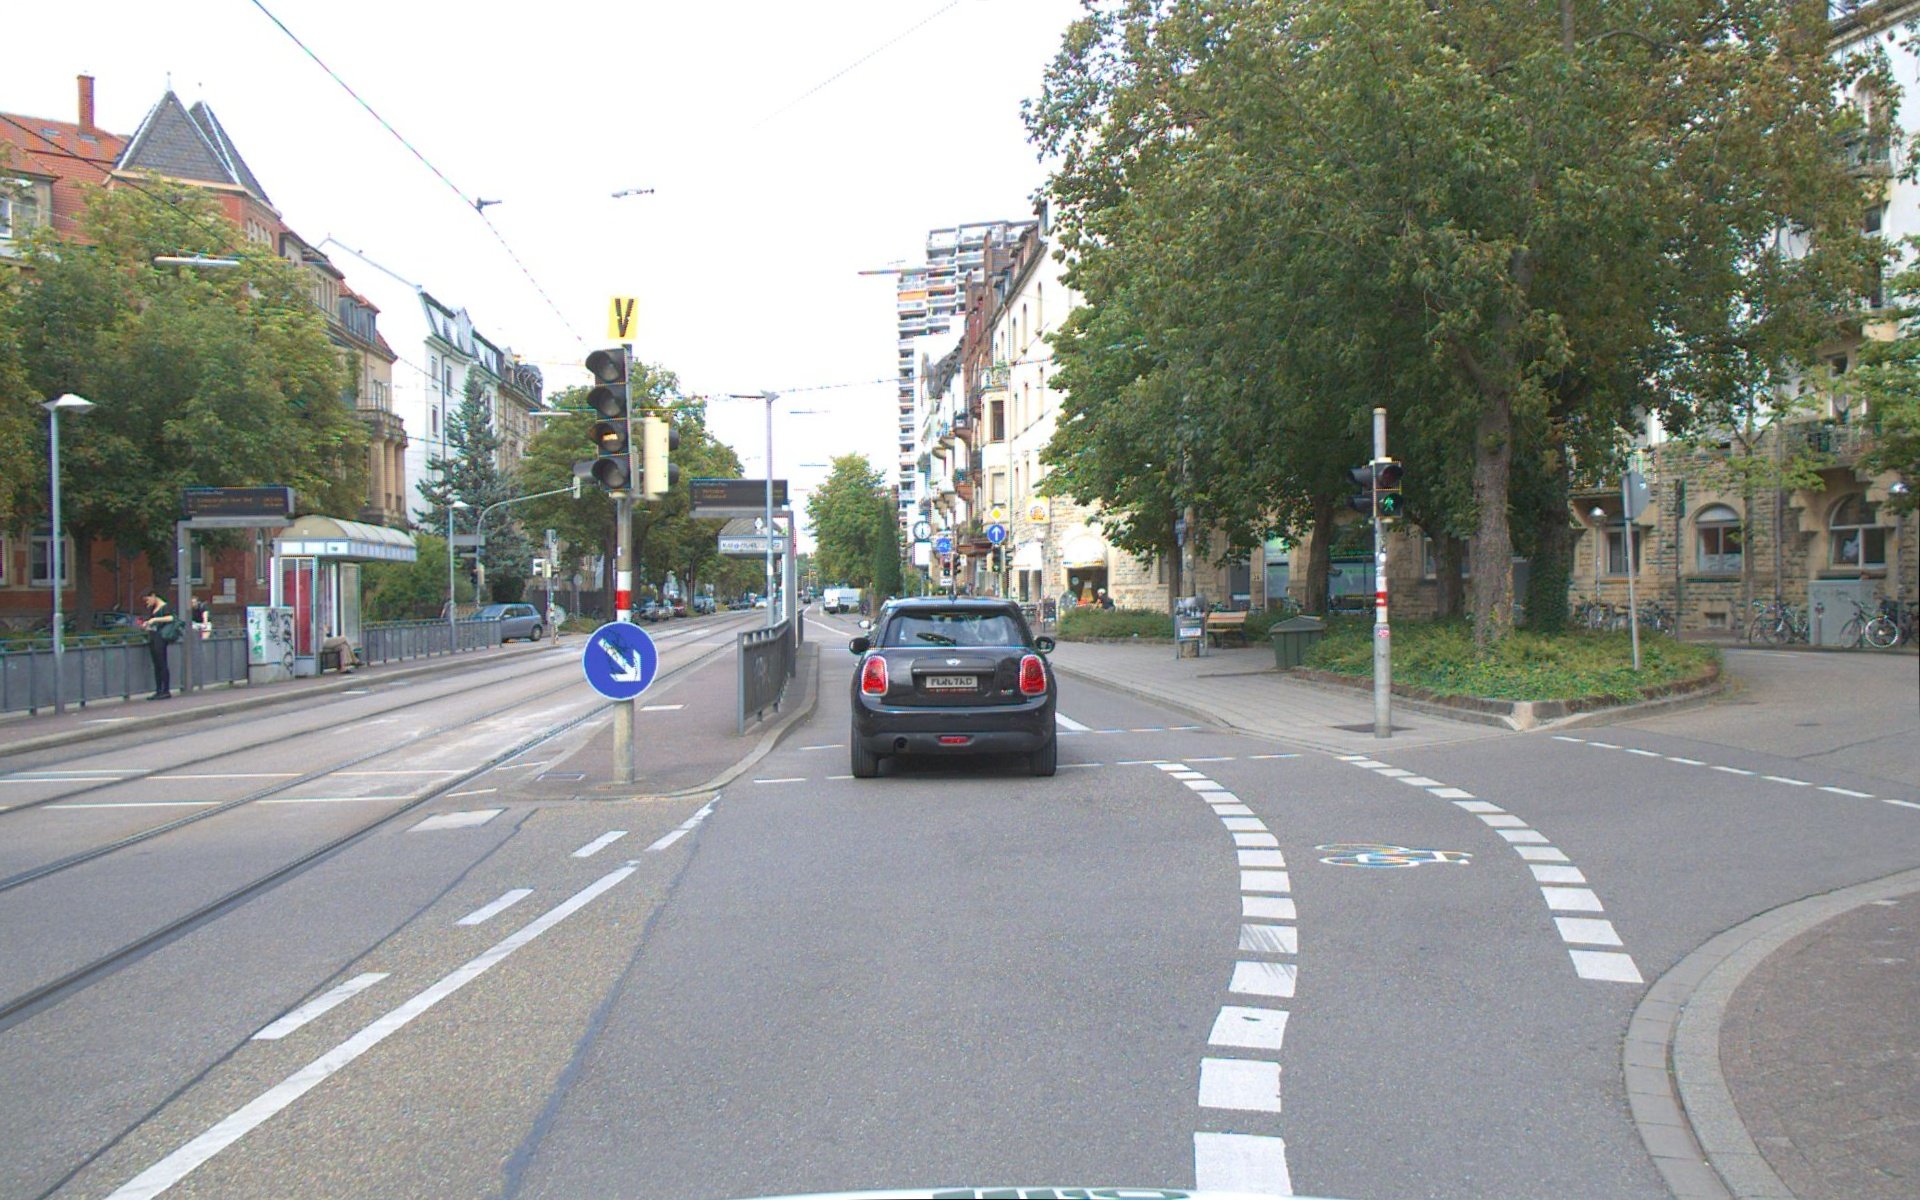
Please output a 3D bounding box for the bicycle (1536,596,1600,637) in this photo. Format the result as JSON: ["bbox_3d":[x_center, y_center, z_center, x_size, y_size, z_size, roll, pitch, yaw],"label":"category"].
[{"bbox_3d":[17.760,0.474,48.316,1.861,1.147,0.579,-1,0,-22],"label":"bicycle"}]

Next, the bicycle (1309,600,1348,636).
[{"bbox_3d":[12.283,0.588,55.147,0.522,1.147,1.886,-1,0,37],"label":"bicycle"}]

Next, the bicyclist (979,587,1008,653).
[{"bbox_3d":[0.812,0.476,40.510,0.583,1.577,1.013,-1,0,-5],"label":"bicyclist"}]

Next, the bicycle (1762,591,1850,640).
[{"bbox_3d":[20.528,0.367,40.152,1.848,1.147,0.533,-1,0,1],"label":"bicycle"}]

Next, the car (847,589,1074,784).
[{"bbox_3d":[-0.020,0.657,14.618,1.716,1.466,3.999,1,0,-1],"label":"car"}]

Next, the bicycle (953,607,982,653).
[{"bbox_3d":[0.195,0.803,44.904,0.670,1.190,1.696,-1,0,-3],"label":"bicycle"}]

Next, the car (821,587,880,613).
[{"bbox_3d":[-9.782,-0.009,148.013,2.357,2.312,5.004,-1,0,45],"label":"car"}]

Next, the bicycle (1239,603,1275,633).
[{"bbox_3d":[10.271,0.618,57.218,0.522,0.989,1.642,-1,0,37],"label":"bicycle"}]

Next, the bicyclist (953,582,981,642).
[{"bbox_3d":[0.190,0.314,44.847,0.670,1.591,0.997,-1,0,-3],"label":"bicyclist"}]

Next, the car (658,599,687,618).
[{"bbox_3d":[-24.531,0.715,141.221,1.954,1.579,3.996,-1,0,-4],"label":"car"}]

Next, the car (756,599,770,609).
[{"bbox_3d":[-27.169,0.561,227.923,1.732,1.420,3.995,-1,0,-5],"label":"car"}]

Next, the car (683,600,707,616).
[{"bbox_3d":[-26.256,0.788,164.106,1.954,1.579,3.996,-1,0,-4],"label":"car"}]

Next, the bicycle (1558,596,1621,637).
[{"bbox_3d":[18.115,0.472,47.585,1.866,1.147,0.589,-1,0,-28],"label":"bicycle"}]

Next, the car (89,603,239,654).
[{"bbox_3d":[-25.373,0.890,52.850,1.777,1.504,3.990,-1,0,32],"label":"car"}]

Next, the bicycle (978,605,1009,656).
[{"bbox_3d":[0.818,0.731,40.514,0.586,1.190,1.695,-1,0,-4],"label":"bicycle"}]

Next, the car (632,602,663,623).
[{"bbox_3d":[-21.646,0.866,114.623,1.732,1.420,3.995,-1,0,-5],"label":"car"}]

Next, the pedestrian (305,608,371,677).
[{"bbox_3d":[-12.316,0.829,32.792,1.039,1.316,0.983,-1,0,-10],"label":"pedestrian"}]

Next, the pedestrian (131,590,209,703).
[{"bbox_3d":[-11.851,0.678,24.835,0.836,1.649,0.841,-1,0,-10],"label":"pedestrian"}]

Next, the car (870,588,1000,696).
[{"bbox_3d":[-0.451,0.611,26.288,1.888,1.536,3.998,-1,0,-3],"label":"car"}]

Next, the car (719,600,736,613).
[{"bbox_3d":[-30.361,0.828,216.356,1.954,1.579,3.996,-1,0,-4],"label":"car"}]

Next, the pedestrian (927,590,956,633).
[{"bbox_3d":[-0.771,0.466,68.299,0.719,1.703,0.831,-4,1,42],"label":"pedestrian"}]

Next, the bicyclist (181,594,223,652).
[{"bbox_3d":[-18.248,0.551,39.843,0.648,1.363,0.835,-1,0,-5],"label":"bicyclist"}]

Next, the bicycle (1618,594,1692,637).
[{"bbox_3d":[19.019,0.425,45.272,1.852,1.147,0.532,-1,0,-9],"label":"bicycle"}]

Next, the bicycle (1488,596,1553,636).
[{"bbox_3d":[16.907,0.484,49.897,1.855,1.147,0.561,-1,0,-14],"label":"bicycle"}]

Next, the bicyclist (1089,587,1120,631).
[{"bbox_3d":[5.097,0.315,58.326,0.896,1.498,0.614,-1,0,35],"label":"bicyclist"}]

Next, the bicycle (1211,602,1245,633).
[{"bbox_3d":[9.406,0.610,57.988,0.441,1.073,1.642,-1,0,37],"label":"bicycle"}]

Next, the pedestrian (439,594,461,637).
[{"bbox_3d":[-21.557,0.652,69.914,0.716,1.815,0.834,-1,0,-5],"label":"pedestrian"}]

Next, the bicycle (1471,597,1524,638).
[{"bbox_3d":[16.450,0.528,50.571,1.873,1.147,0.526,-3,1,-36],"label":"bicycle"}]

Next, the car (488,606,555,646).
[{"bbox_3d":[-17.058,0.976,64.458,1.717,1.466,3.998,1,0,-3],"label":"car"}]

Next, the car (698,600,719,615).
[{"bbox_3d":[-27.377,0.836,180.288,1.954,1.579,3.996,-1,0,-4],"label":"car"}]

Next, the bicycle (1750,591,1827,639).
[{"bbox_3d":[20.569,0.360,41.062,1.857,1.147,0.530,-1,0,-16],"label":"bicycle"}]

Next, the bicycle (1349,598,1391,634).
[{"bbox_3d":[13.401,0.519,54.020,0.654,1.147,1.886,-1,0,37],"label":"bicycle"}]

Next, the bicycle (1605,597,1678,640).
[{"bbox_3d":[18.894,0.501,45.848,1.852,1.147,0.532,-1,0,-9],"label":"bicycle"}]

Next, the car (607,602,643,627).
[{"bbox_3d":[-20.777,0.887,102.691,1.732,1.420,3.995,-1,0,-5],"label":"car"}]

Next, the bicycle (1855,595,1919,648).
[{"bbox_3d":[21.169,0.479,37.156,1.850,1.147,0.532,-1,0,-4],"label":"bicycle"}]

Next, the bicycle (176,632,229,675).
[{"bbox_3d":[-18.233,1.276,39.843,0.648,0.965,1.548,-1,0,-4],"label":"bicycle"}]

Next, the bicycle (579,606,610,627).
[{"bbox_3d":[-21.017,0.953,95.178,1.659,1.138,0.563,-2,0,-44],"label":"bicycle"}]

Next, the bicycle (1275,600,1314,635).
[{"bbox_3d":[11.309,0.585,55.928,0.522,1.147,1.886,-1,0,37],"label":"bicycle"}]

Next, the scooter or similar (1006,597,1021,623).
[{"bbox_3d":[2.505,0.456,77.520,0.498,1.209,1.260,-1,0,-4],"label":"scooter or similar"}]

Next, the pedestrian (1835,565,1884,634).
[{"bbox_3d":[22.696,-0.020,41.740,0.717,1.705,0.833,-1,0,-11],"label":"pedestrian"}]

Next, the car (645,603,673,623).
[{"bbox_3d":[-22.245,0.961,122.318,1.732,1.420,3.995,-1,0,-5],"label":"car"}]
